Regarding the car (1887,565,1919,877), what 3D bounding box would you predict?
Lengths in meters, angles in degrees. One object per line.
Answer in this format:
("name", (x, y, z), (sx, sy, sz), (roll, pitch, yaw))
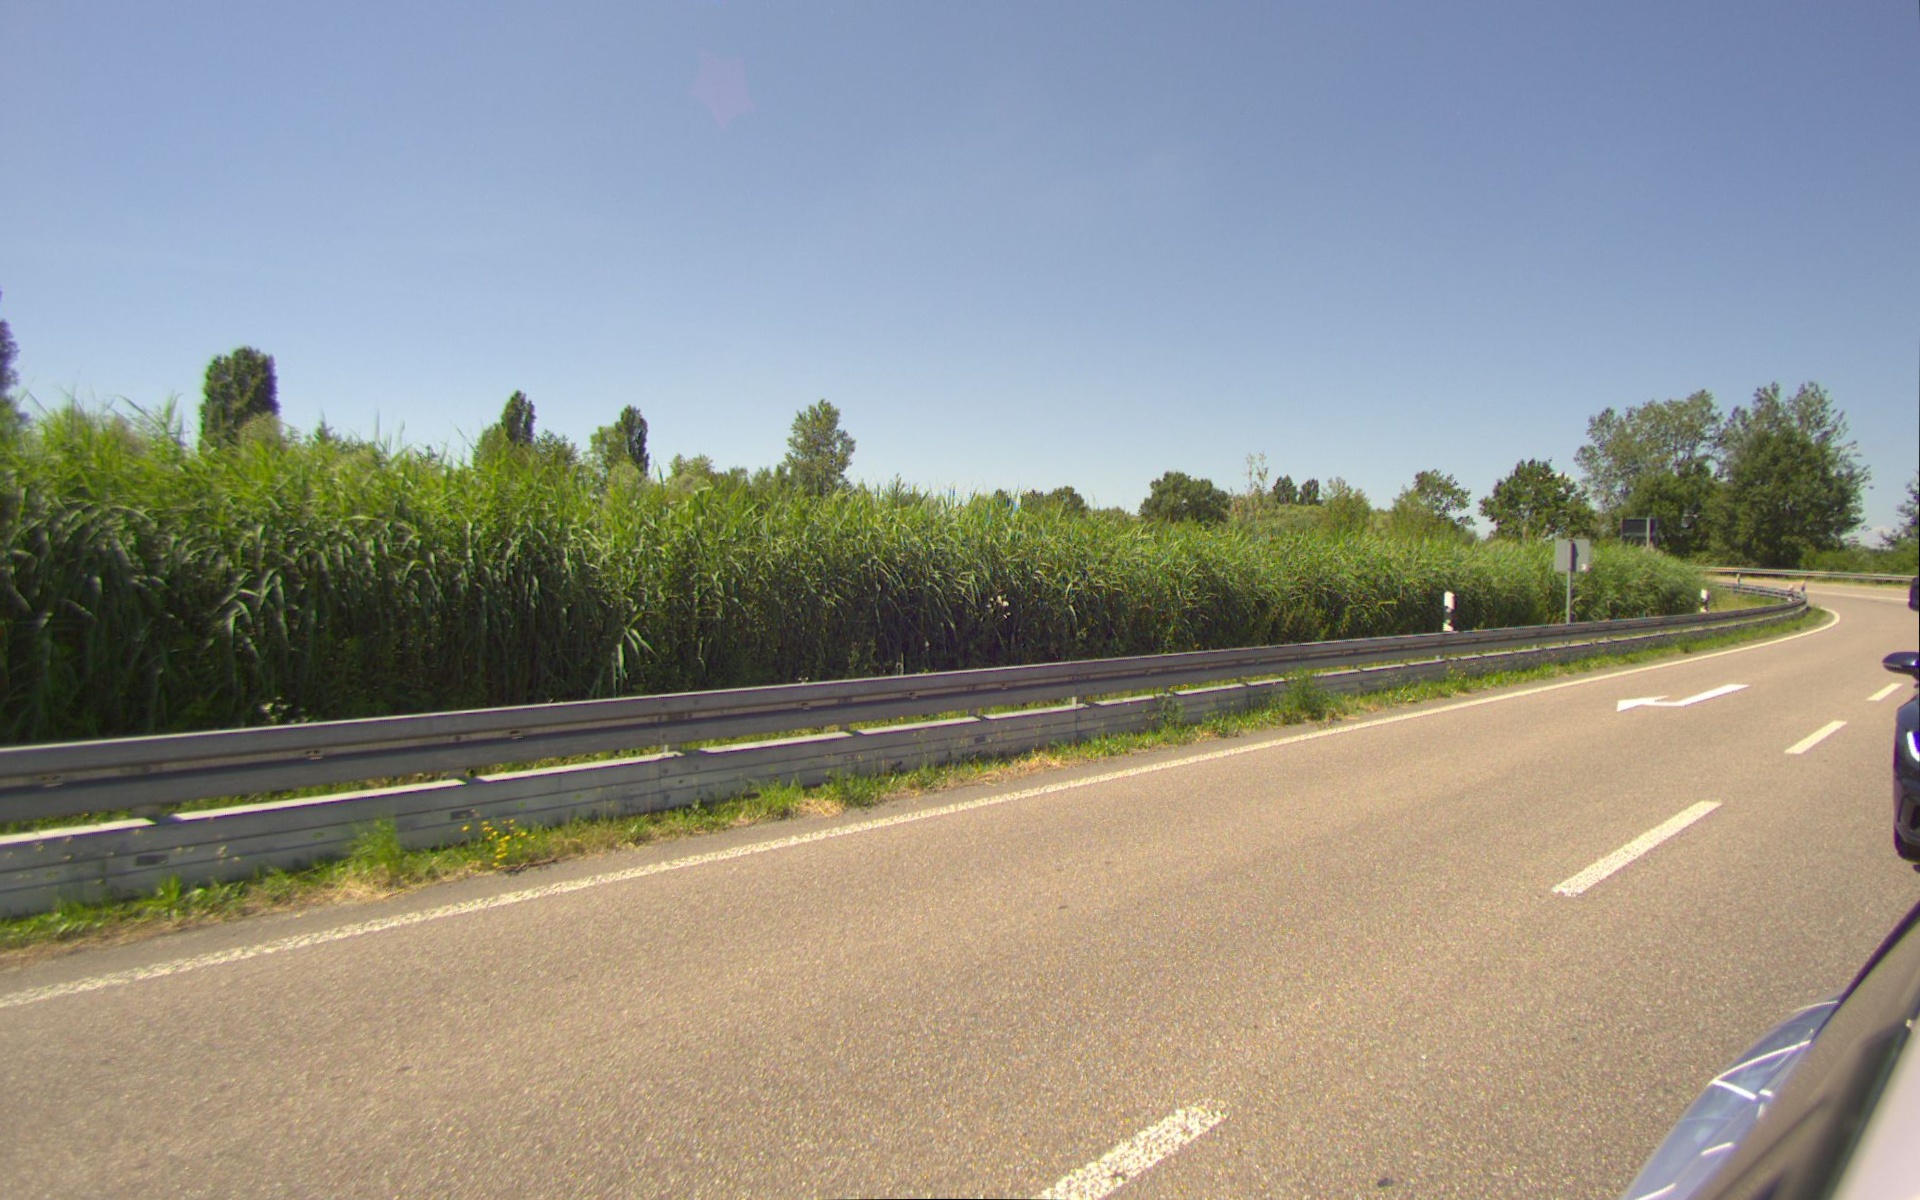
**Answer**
("car", (6.697, 0.548, 5.619), (4.339, 1.481, 1.818), (-1, 2, -41))
